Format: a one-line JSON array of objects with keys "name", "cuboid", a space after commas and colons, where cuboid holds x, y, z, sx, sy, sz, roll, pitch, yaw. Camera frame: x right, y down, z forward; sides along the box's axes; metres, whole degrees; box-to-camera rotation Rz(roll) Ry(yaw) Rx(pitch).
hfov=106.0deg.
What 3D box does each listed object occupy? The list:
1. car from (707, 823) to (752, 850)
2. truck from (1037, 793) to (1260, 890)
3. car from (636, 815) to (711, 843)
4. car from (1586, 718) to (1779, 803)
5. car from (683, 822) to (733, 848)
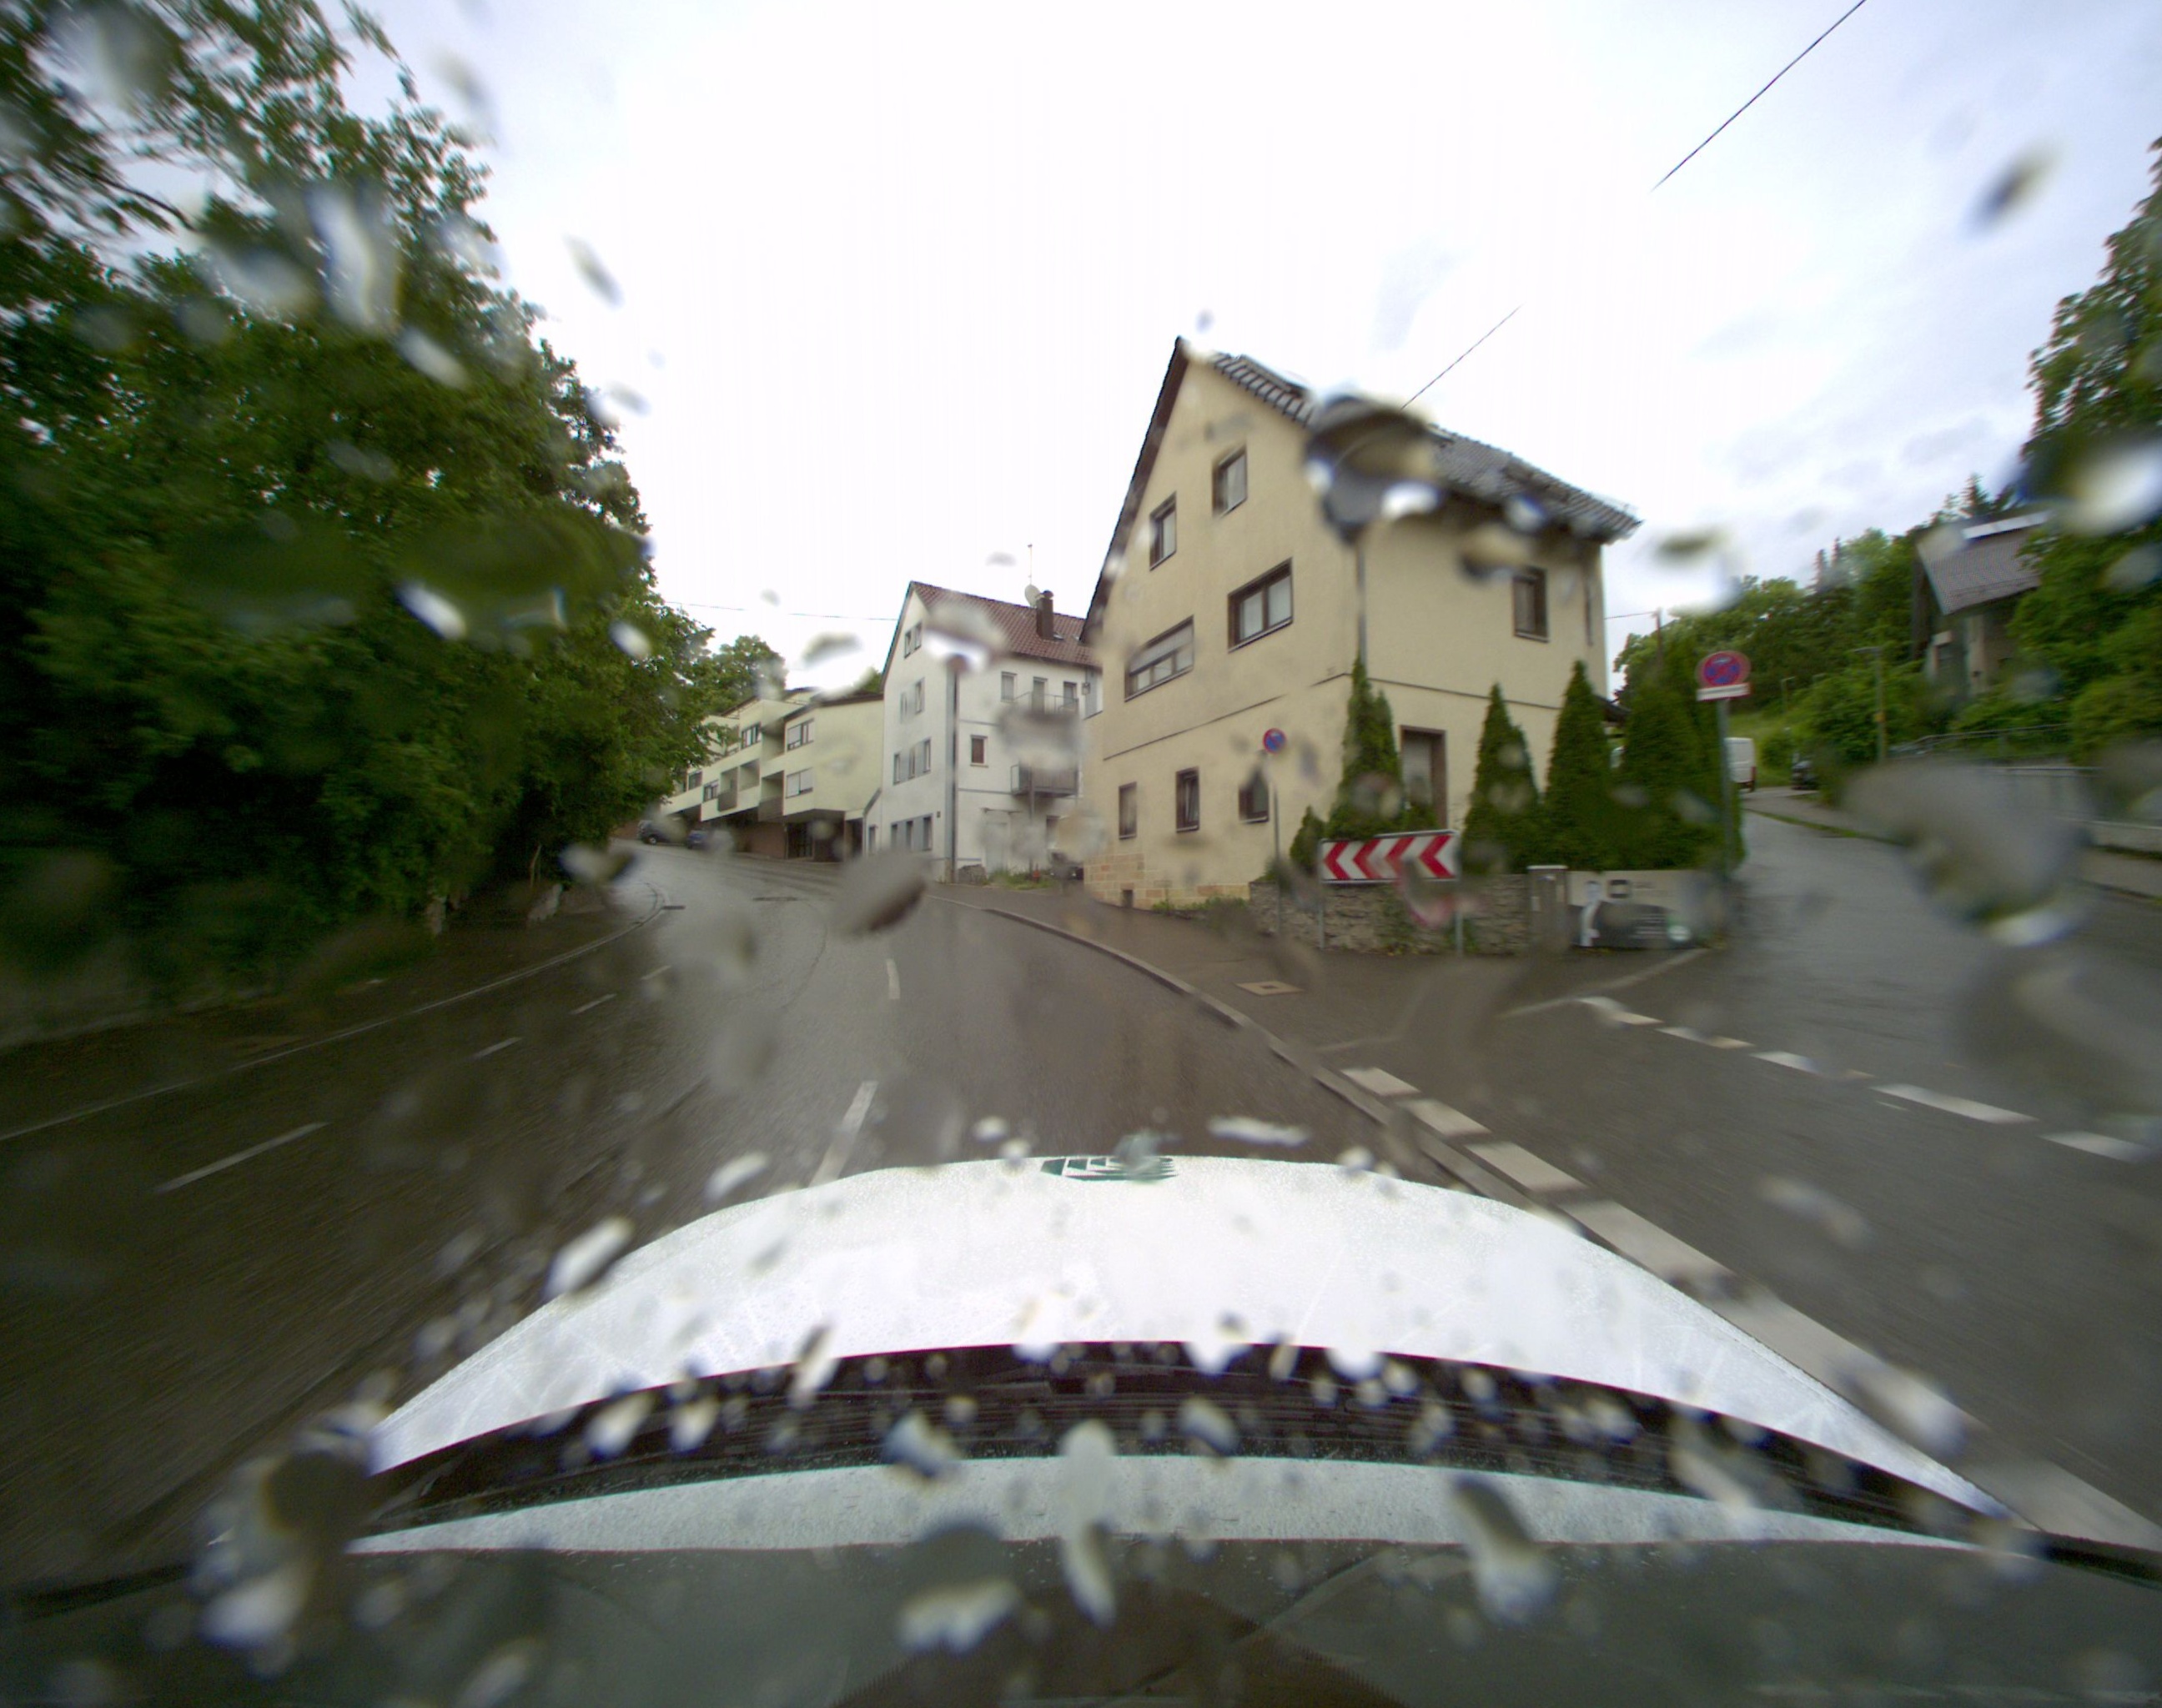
[{"name": "car", "cuboid": [-24.084, -1.191, 55.994, 1.782, 1.578, 4.053, 5, 0, -10]}, {"name": "truck", "cuboid": [2.238, -0.517, 25.720, 6.997, 2.702, 2.121, -3, 3, -28]}, {"name": "car", "cuboid": [-31.543, -1.916, 63.123, 4.749, 1.820, 1.976, 3, 2, -43]}, {"name": "car", "cuboid": [21.123, -3.227, 28.698, 5.685, 2.651, 1.994, 0, -1, -8]}, {"name": "car", "cuboid": [-26.405, -1.309, 57.764, 1.779, 1.578, 4.060, 5, 0, -4]}]
